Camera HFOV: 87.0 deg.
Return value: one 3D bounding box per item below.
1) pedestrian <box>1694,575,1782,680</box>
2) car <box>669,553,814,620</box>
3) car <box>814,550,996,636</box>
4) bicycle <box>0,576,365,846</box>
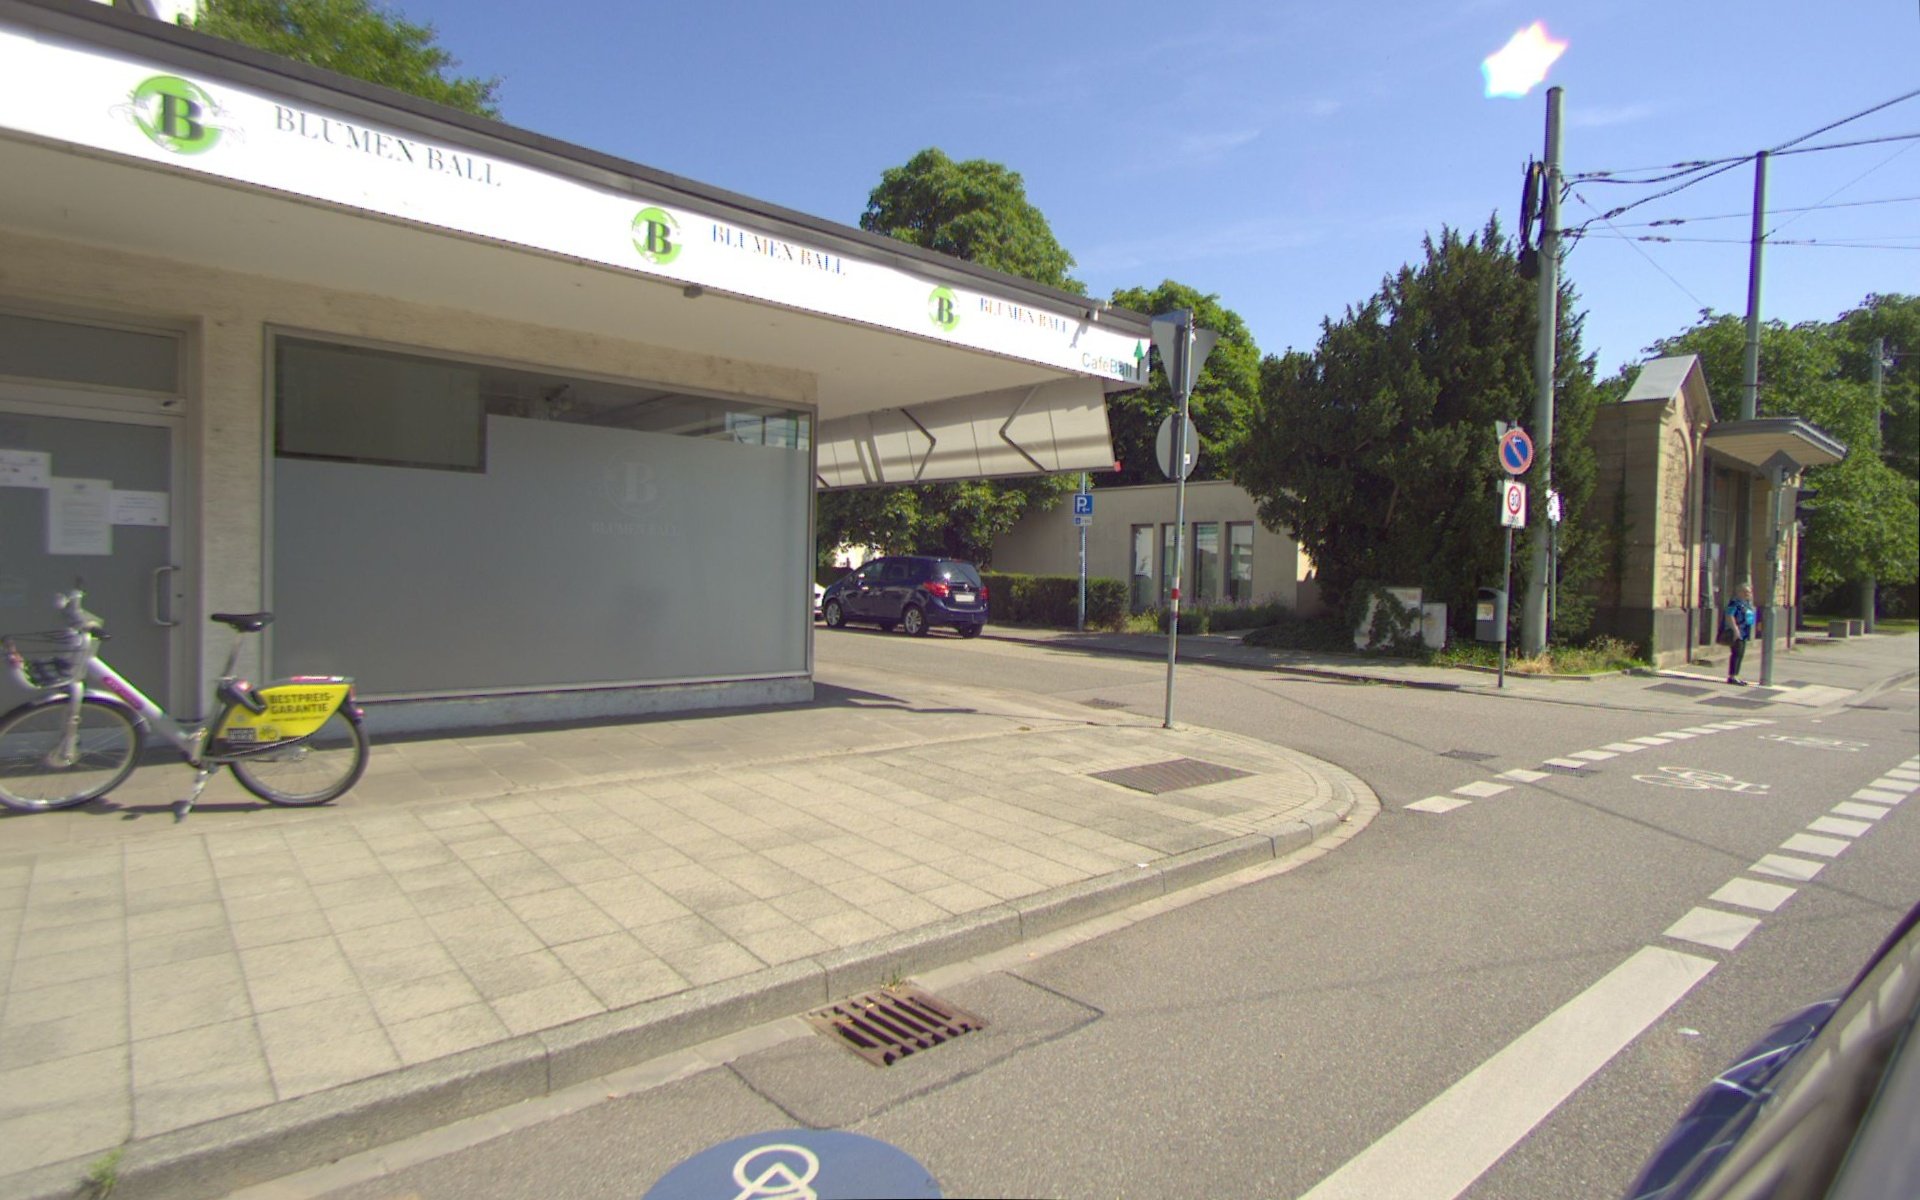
[{"bbox_3d":[11.868,0.404,15.443,0.842,1.528,0.782,0,2,-32],"label":"pedestrian"},{"bbox_3d":[-5.465,-0.379,24.901,1.545,1.469,4.319,0,3,-42],"label":"car"},{"bbox_3d":[-1.206,-0.168,20.948,1.705,1.587,3.722,2,1,-43],"label":"car"},{"bbox_3d":[-4.108,0.476,4.821,2.150,1.153,0.729,0,2,-28],"label":"bicycle"}]
